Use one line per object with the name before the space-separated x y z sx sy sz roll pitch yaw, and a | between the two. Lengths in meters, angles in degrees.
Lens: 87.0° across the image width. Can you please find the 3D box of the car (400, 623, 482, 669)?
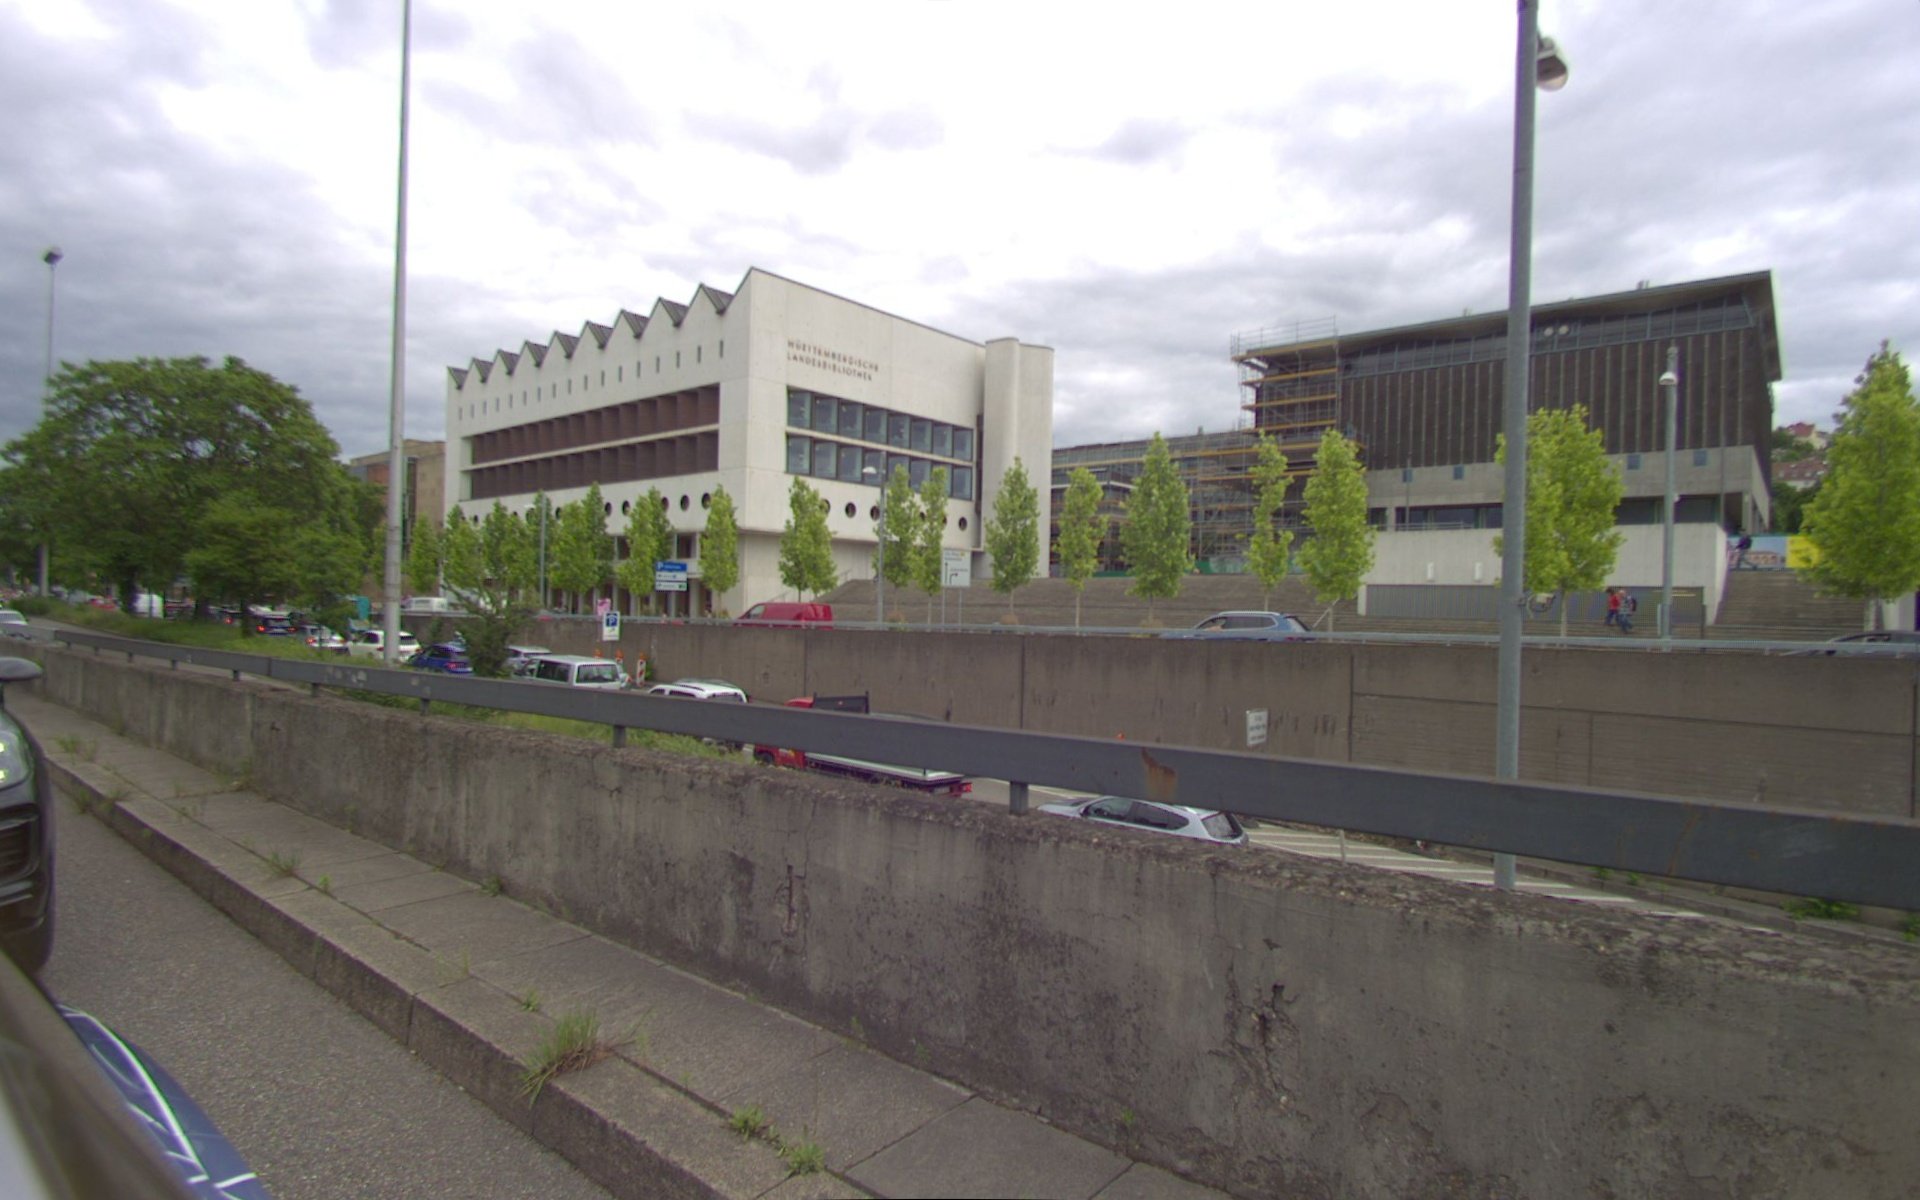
car | -24.326 2.138 47.381 3.998 2.029 1.973 -2 -5 41

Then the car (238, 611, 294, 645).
car | -45.066 1.830 65.729 3.998 2.029 1.973 -2 -5 41

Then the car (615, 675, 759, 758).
car | -7.743 3.215 28.545 3.998 2.029 1.973 -2 -5 41

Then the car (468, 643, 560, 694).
car | -18.847 2.866 42.716 3.998 2.029 1.973 -2 -5 41

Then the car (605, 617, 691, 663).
car | -14.562 1.816 47.184 3.996 2.029 1.974 -1 0 40

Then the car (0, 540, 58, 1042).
car | -5.520 0.687 4.343 4.677 1.690 1.913 -2 -1 41

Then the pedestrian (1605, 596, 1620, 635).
pedestrian | 25.344 0.602 39.280 0.461 1.533 0.377 -1 0 35

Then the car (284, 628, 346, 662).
car | -31.051 2.136 48.675 3.360 1.497 1.653 -1 -1 41

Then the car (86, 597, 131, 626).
car | -65.663 0.902 78.014 3.998 2.028 1.973 -2 2 41

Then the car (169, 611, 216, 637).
car | -47.107 1.472 62.117 3.360 1.497 1.653 -2 -1 41

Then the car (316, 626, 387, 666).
car | -32.994 2.443 54.829 4.653 2.029 1.973 -2 -1 41

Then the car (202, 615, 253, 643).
car | -41.714 1.647 57.600 3.360 1.497 1.653 -2 -1 41

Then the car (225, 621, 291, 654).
car | -37.140 1.978 53.541 3.998 1.672 1.973 -2 -1 41

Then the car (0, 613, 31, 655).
car | -48.825 1.706 51.404 3.998 2.029 1.973 -1 0 41

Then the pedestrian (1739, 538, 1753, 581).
pedestrian | 34.687 -1.787 44.652 0.461 1.881 0.377 -1 0 35

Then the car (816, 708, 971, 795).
car | -1.823 3.985 27.172 3.862 1.829 1.973 -1 -2 40

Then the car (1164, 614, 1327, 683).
car | 8.079 1.342 28.808 3.998 1.829 1.973 -2 -2 41

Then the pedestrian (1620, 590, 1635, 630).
pedestrian | 25.402 0.381 38.490 0.461 1.533 0.377 -1 0 35

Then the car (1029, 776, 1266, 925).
car | 3.382 4.468 18.633 3.925 1.829 1.771 -2 -1 40

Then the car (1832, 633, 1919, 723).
car | 21.030 1.617 21.304 3.998 1.829 1.973 -2 -2 41

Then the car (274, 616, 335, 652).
car | -39.347 2.054 60.699 3.998 2.029 1.973 -2 -5 41

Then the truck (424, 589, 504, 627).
truck | -30.156 0.519 61.454 5.606 2.174 1.979 -1 -1 35

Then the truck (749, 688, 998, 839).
truck | -2.150 3.577 23.483 5.976 2.711 2.294 -2 -1 42

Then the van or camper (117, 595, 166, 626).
van or camper | -56.861 0.740 70.286 3.998 2.029 2.010 -2 -1 41

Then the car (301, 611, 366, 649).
car | -35.729 1.734 57.674 3.998 2.029 1.973 -2 -5 41

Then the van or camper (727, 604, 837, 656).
van or camper | -7.361 1.224 41.697 4.552 2.029 1.974 -2 -2 39

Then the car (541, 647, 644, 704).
car | -14.206 2.885 39.045 3.998 2.029 1.973 -2 -5 41

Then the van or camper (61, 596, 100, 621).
van or camper | -75.001 0.746 86.289 3.998 2.029 2.010 -2 -1 41

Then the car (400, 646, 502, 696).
car | -19.623 2.718 38.941 4.279 1.757 1.973 -2 -5 41

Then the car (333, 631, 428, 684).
car | -25.009 2.456 43.589 4.849 2.148 1.973 -2 -5 41

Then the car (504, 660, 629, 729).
car | -12.927 3.045 33.164 4.330 2.029 1.973 -2 -5 41
